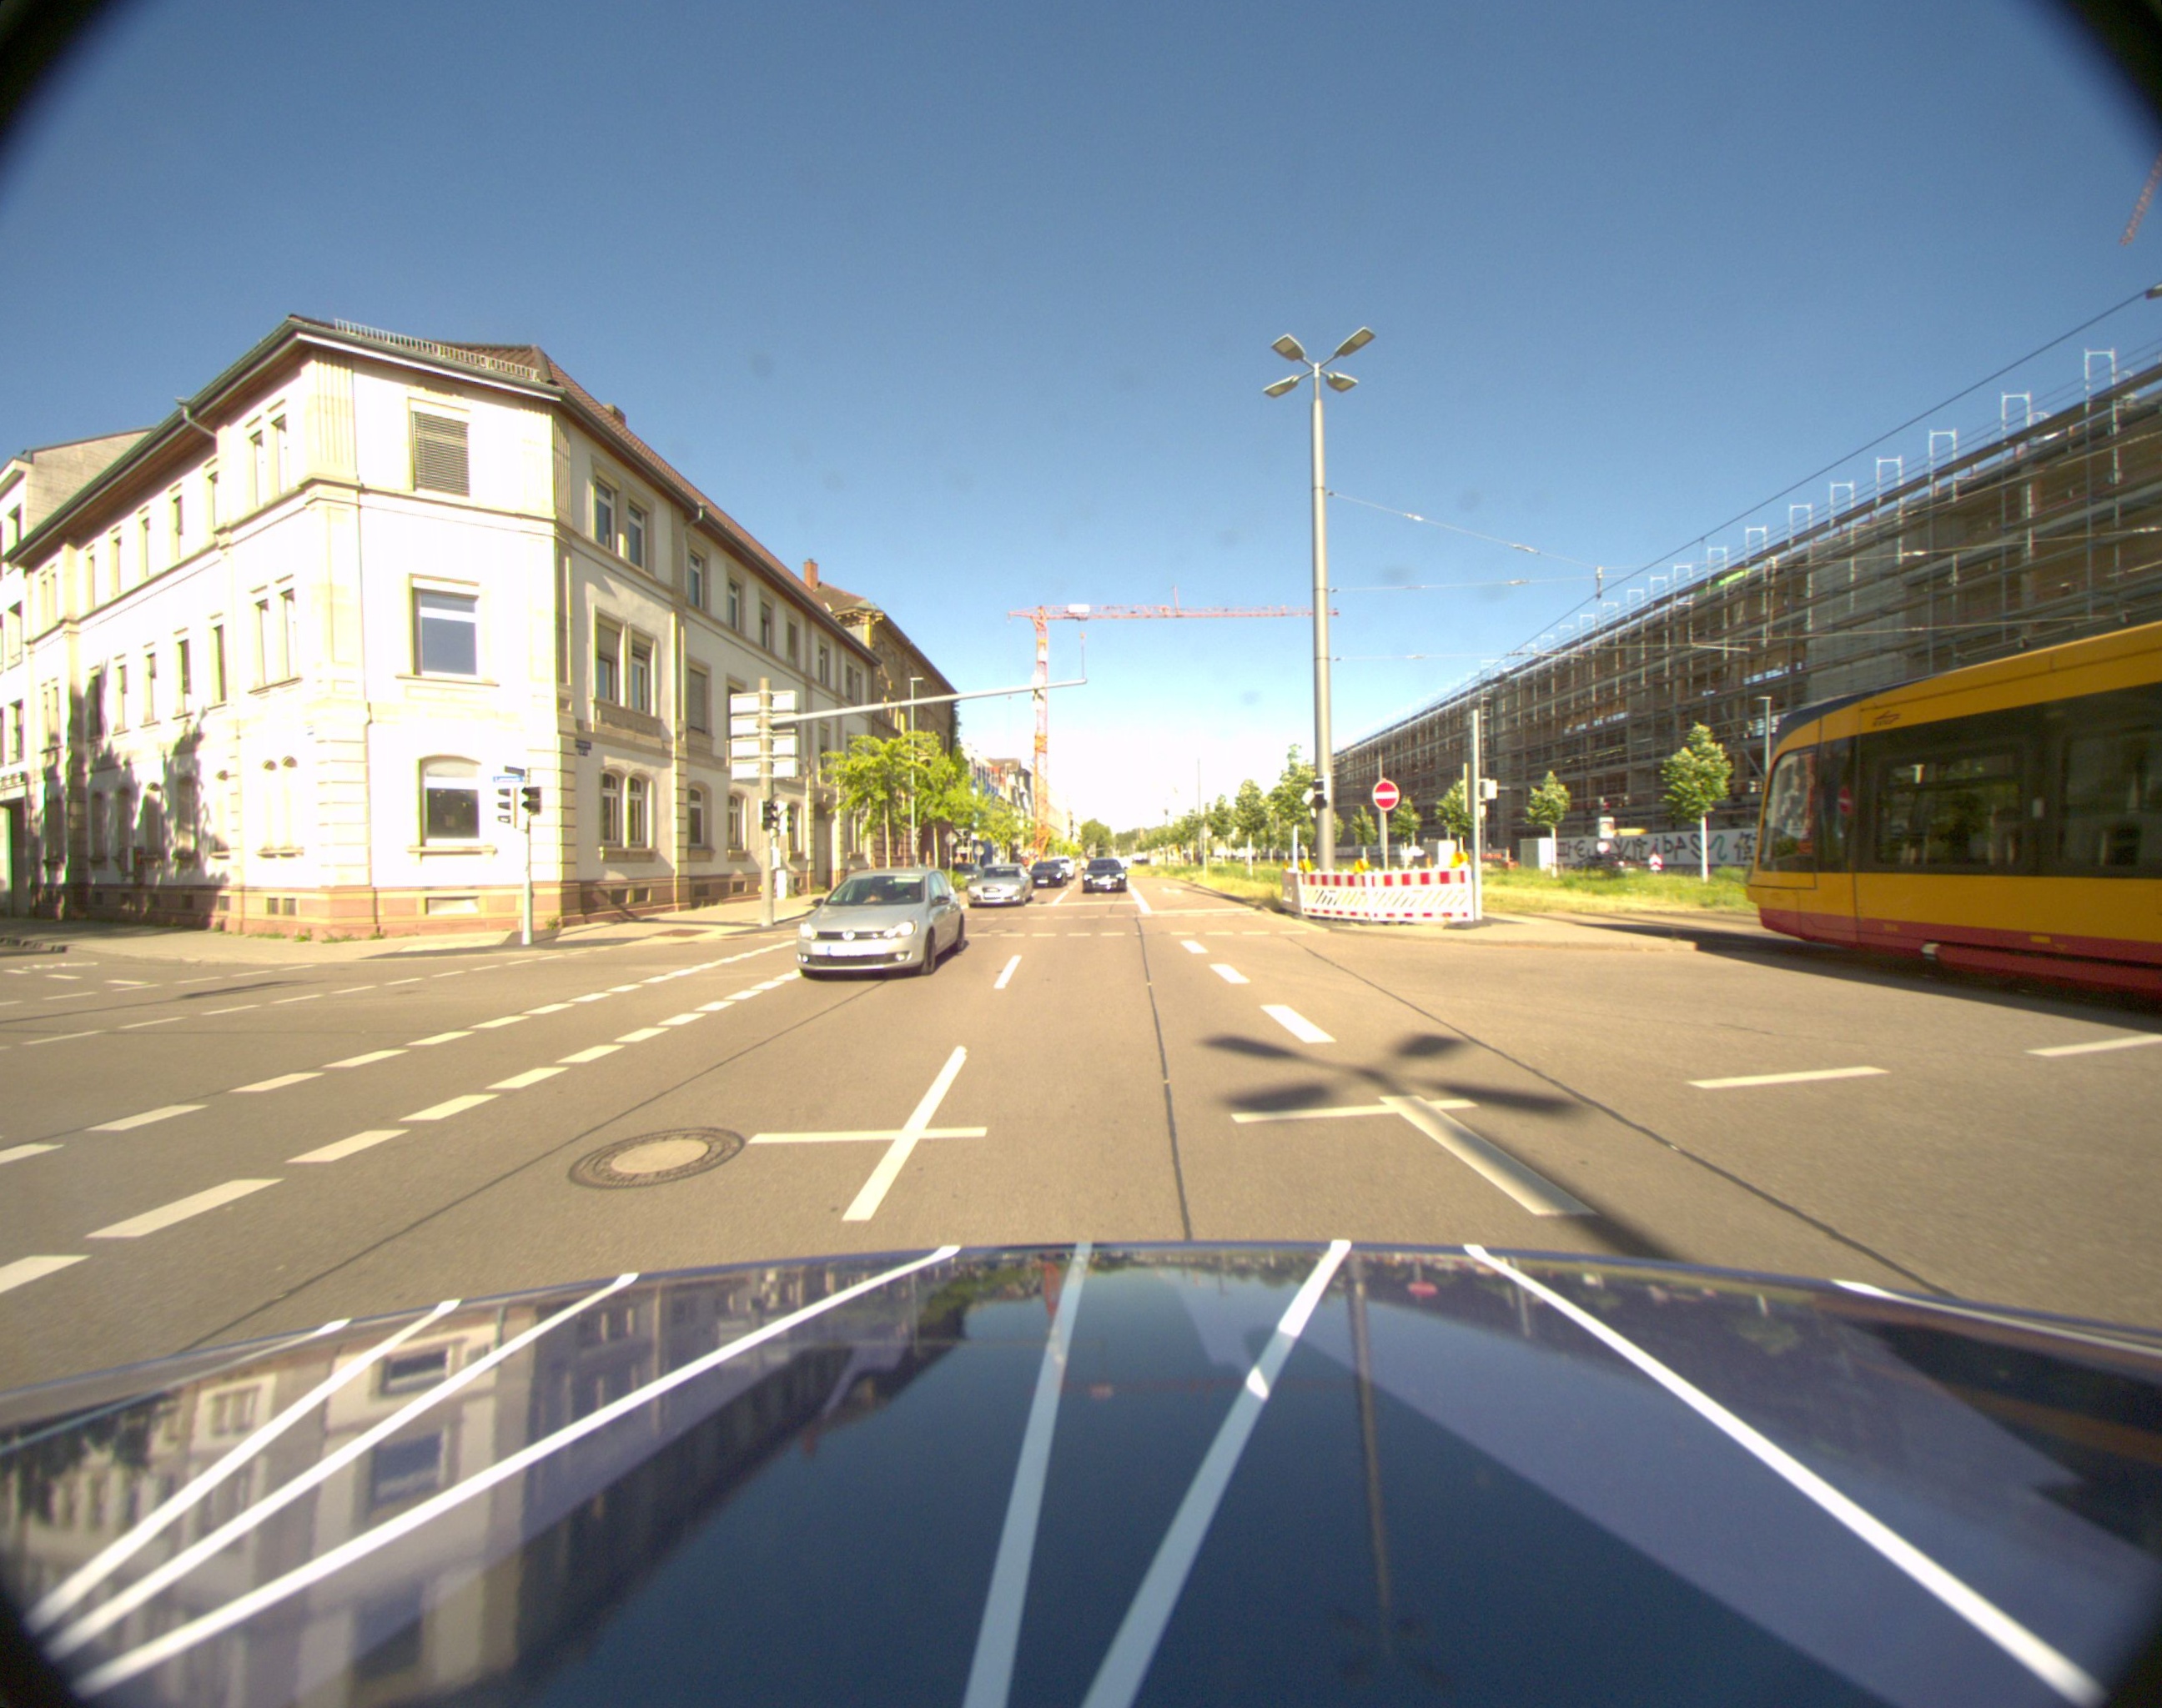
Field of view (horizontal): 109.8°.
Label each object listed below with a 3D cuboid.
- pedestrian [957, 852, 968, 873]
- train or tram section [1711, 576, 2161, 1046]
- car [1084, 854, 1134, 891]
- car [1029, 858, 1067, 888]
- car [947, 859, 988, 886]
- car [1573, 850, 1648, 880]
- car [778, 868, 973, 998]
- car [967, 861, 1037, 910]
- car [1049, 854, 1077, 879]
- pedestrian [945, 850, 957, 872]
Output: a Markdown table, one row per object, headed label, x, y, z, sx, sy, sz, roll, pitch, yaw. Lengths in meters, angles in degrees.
| label | x | y | z | sx | sy | sz | roll | pitch | yaw |
| --- | --- | --- | --- | --- | --- | --- | --- | --- | --- |
| pedestrian | -8.890 | 0.641 | 57.069 | 0.669 | 1.552 | 0.906 | -2 | 1 | 0 |
| train or tram section | 9.177 | -0.326 | 3.451 | 1.998 | 3.648 | 14.156 | -2 | 0 | 5 |
| car | 1.175 | 0.761 | 33.108 | 1.999 | 1.493 | 3.999 | 0 | 0 | 0 |
| car | -1.701 | 1.000 | 40.640 | 1.703 | 1.415 | 4.000 | -2 | 0 | 2 |
| car | -6.474 | 1.028 | 43.567 | 1.609 | 1.435 | 4.000 | 0 | 1 | 2 |
| car | 28.376 | 0.550 | 40.834 | 1.598 | 1.458 | 3.480 | -2 | 1 | 1 |
| car | -2.856 | 1.026 | 11.484 | 1.703 | 1.466 | 4.000 | -2 | 0 | 2 |
| car | -2.628 | 1.014 | 26.093 | 1.839 | 1.415 | 4.000 | -2 | 0 | 2 |
| car | -1.245 | 0.869 | 53.666 | 1.703 | 1.622 | 4.000 | -2 | 1 | 2 |
| pedestrian | -9.714 | 0.513 | 56.930 | 0.669 | 1.552 | 0.906 | -2 | 1 | 0 |
